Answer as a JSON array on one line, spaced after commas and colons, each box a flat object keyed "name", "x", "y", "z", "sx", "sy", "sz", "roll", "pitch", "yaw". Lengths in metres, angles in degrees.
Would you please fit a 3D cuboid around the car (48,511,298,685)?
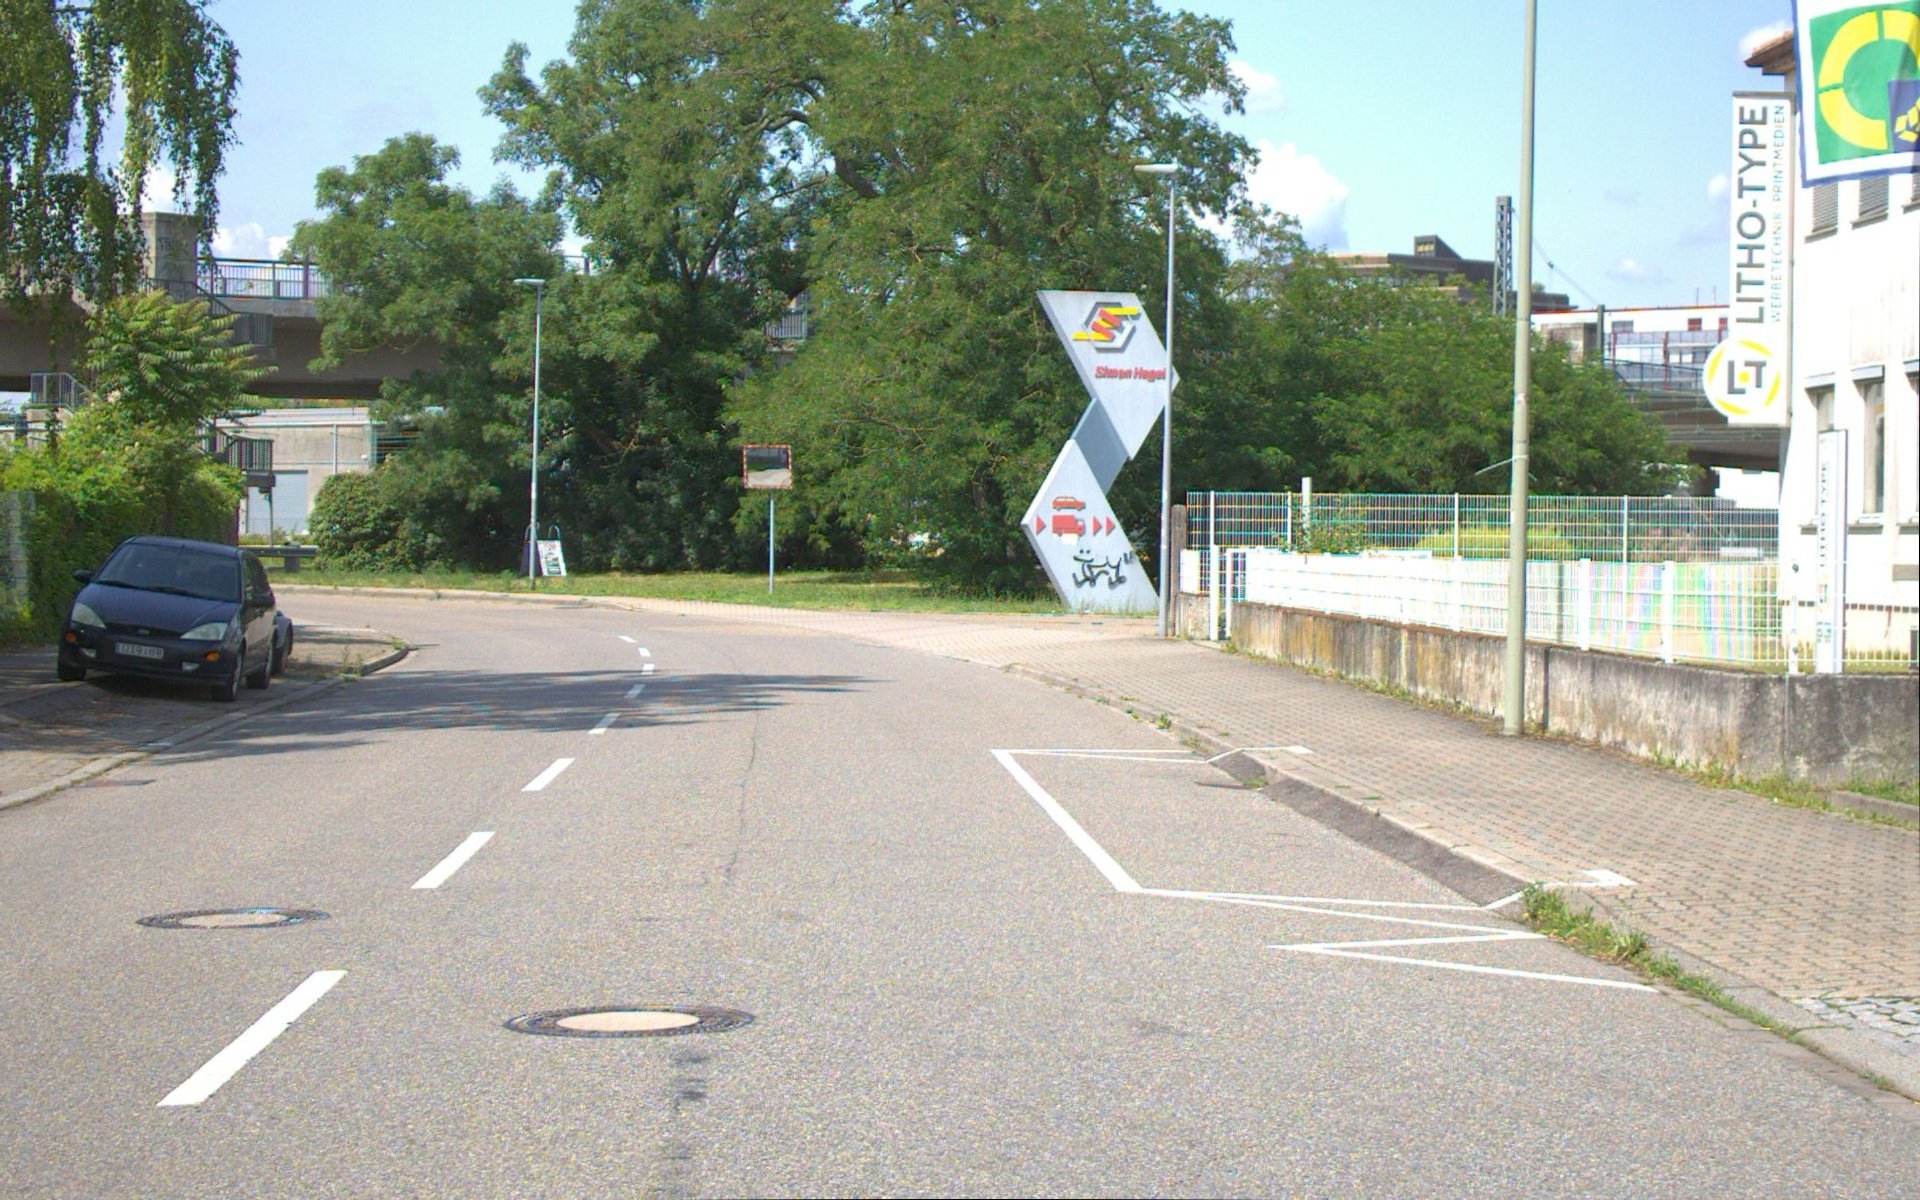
[{"name": "car", "x": -7.806, "y": -0.038, "z": 34.429, "sx": 1.682, "sy": 1.507, "sz": 4.158, "roll": 5, "pitch": 0, "yaw": -4}]

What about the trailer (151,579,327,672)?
[{"name": "trailer", "x": -8.064, "y": 0.270, "z": 38.629, "sx": 1.464, "sy": 0.848, "sz": 2.467, "roll": 5, "pitch": 1, "yaw": -2}]
